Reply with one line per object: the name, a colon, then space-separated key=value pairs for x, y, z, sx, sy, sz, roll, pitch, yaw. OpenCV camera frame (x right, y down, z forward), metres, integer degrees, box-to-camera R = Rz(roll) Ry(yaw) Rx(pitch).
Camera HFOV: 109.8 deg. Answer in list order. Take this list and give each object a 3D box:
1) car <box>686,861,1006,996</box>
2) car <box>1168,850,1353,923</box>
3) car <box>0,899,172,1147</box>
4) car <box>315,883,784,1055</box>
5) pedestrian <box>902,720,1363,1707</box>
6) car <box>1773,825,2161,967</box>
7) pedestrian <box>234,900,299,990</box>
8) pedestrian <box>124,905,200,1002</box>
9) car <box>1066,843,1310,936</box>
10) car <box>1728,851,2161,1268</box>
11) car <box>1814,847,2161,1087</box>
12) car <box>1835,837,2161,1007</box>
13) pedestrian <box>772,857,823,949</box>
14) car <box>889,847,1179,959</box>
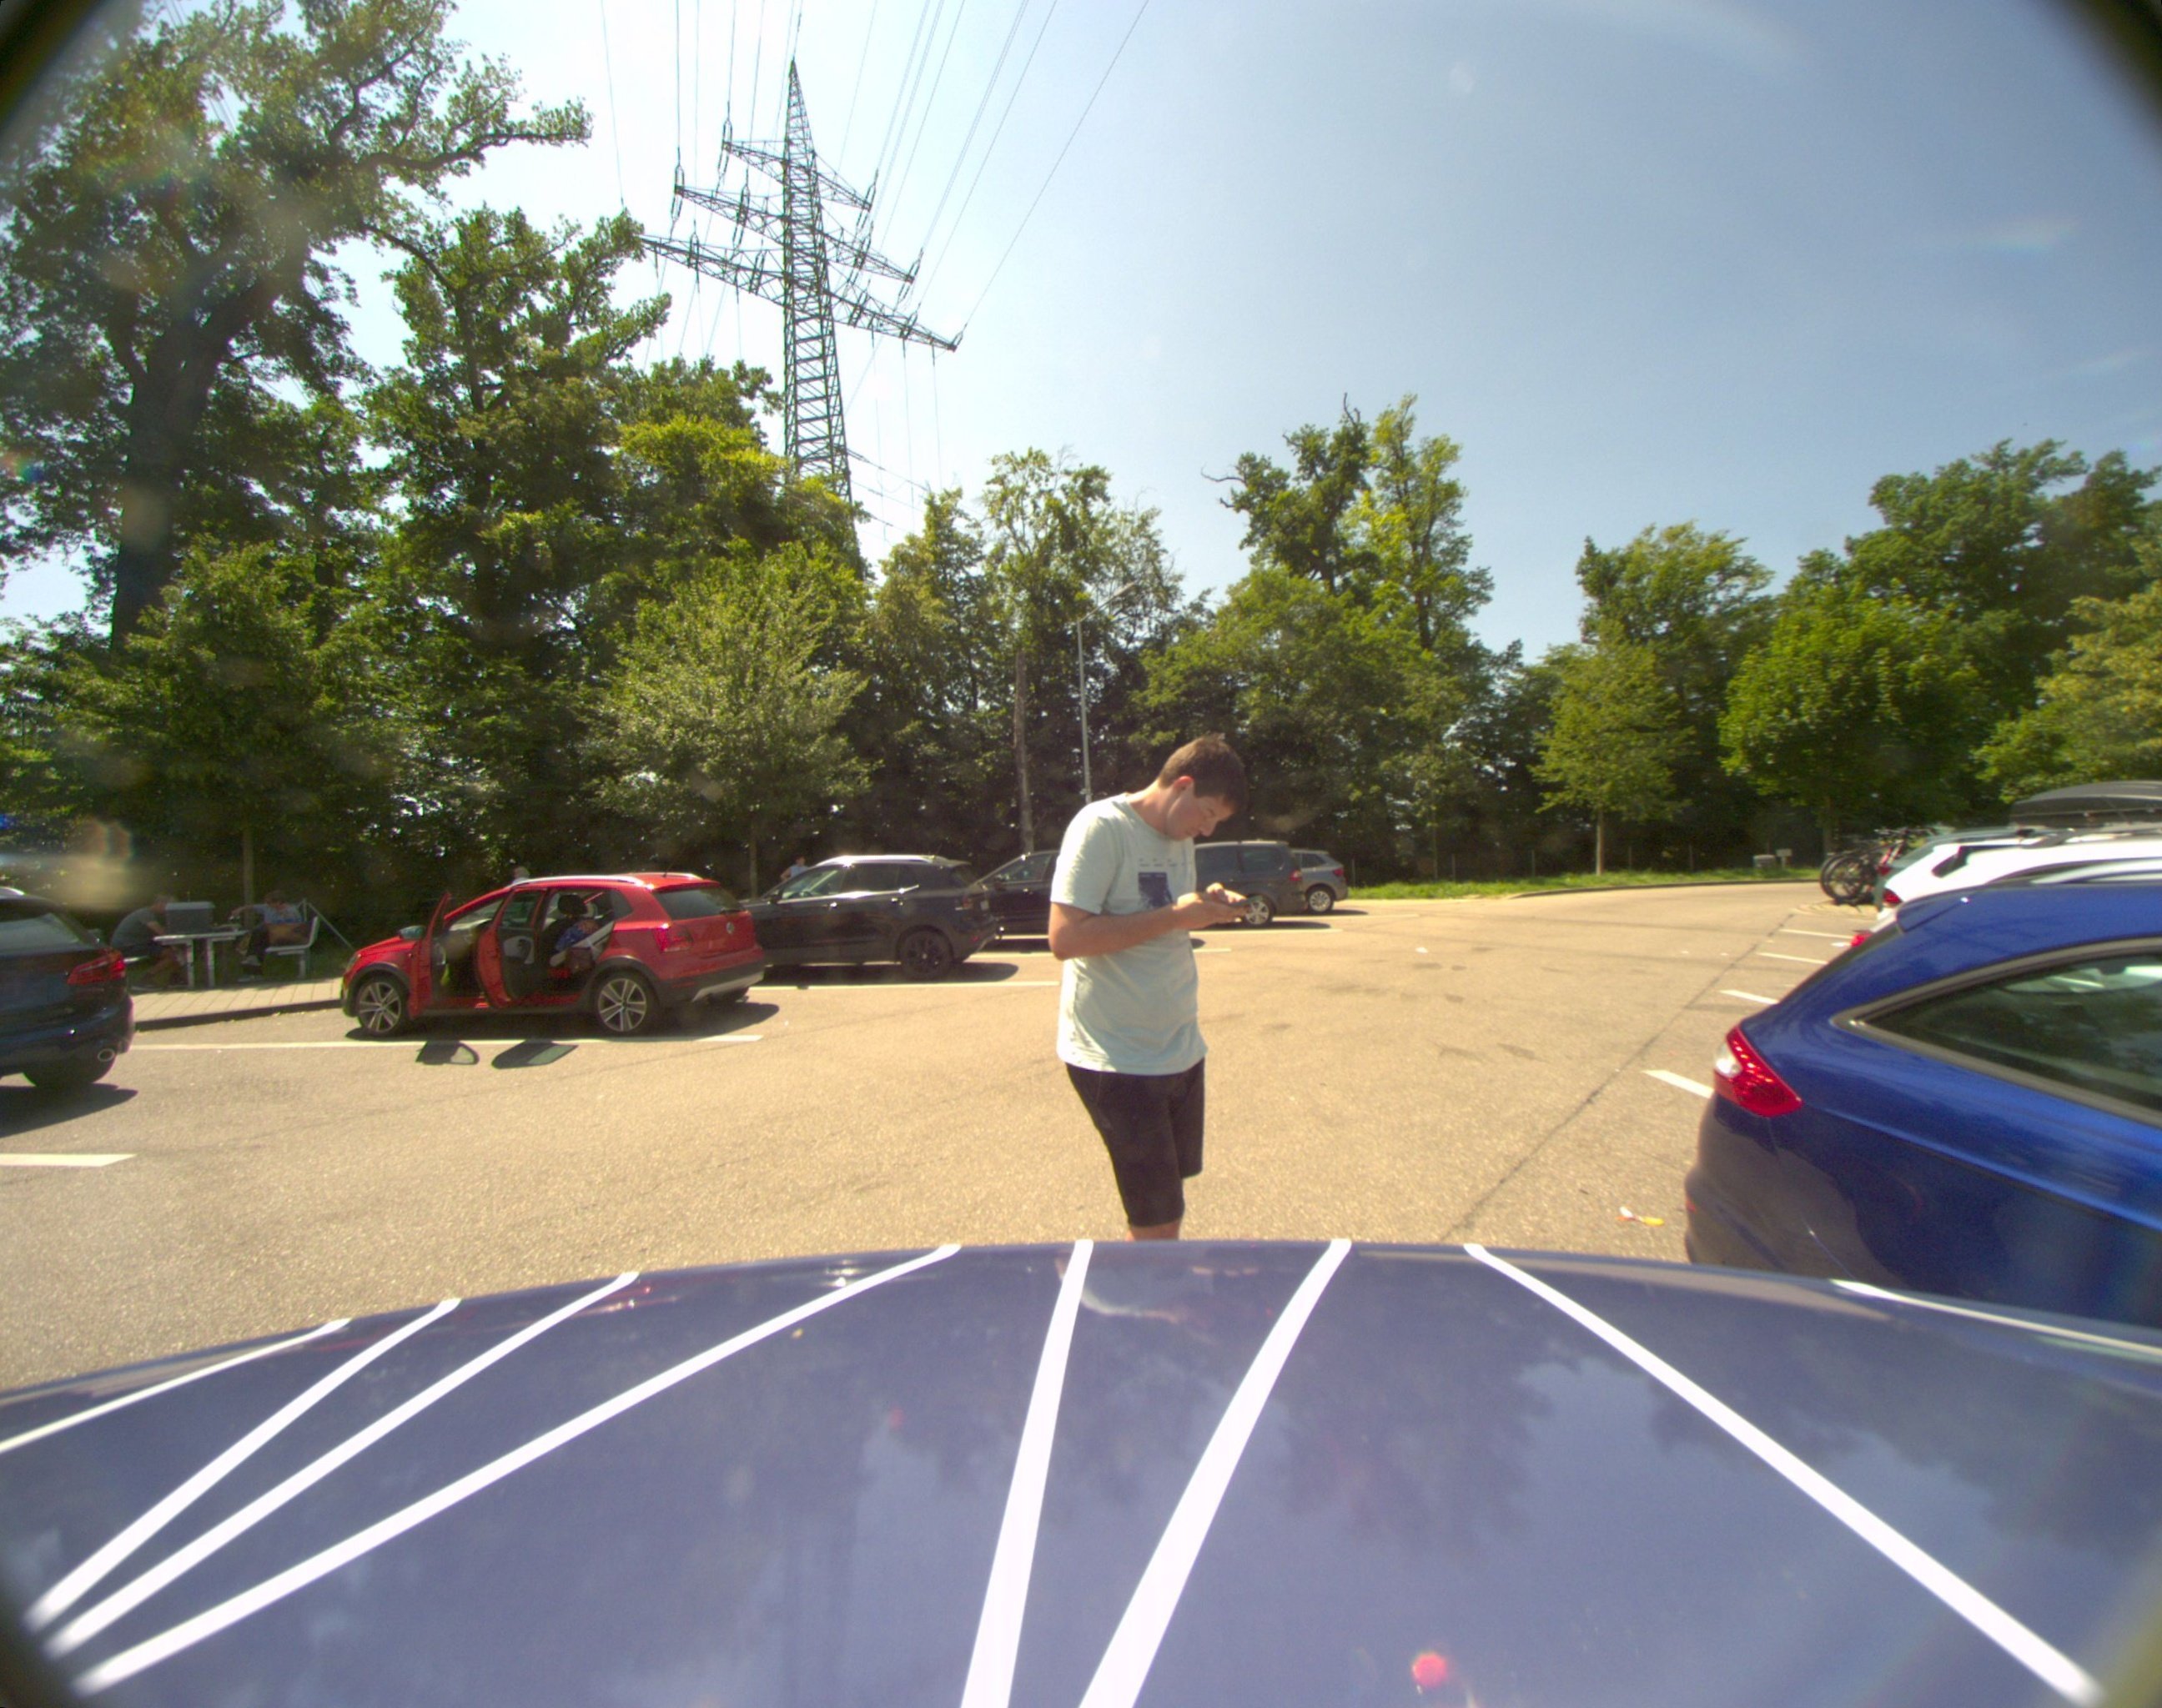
car: x=-3.028 y=0.947 z=10.333 sx=3.732 sy=1.578 sz=1.739 roll=-2 pitch=0 yaw=2
car: x=4.149 y=0.738 z=18.028 sx=3.996 sy=1.495 sz=1.687 roll=-2 pitch=1 yaw=3
car: x=-8.880 y=1.162 z=5.012 sx=3.934 sy=1.534 sz=1.812 roll=-2 pitch=0 yaw=7
car: x=-5.185 y=1.090 z=7.656 sx=3.730 sy=1.440 sz=1.591 roll=-2 pitch=0 yaw=7
pedestrian: x=0.148 y=0.720 z=1.921 sx=0.863 sy=1.940 sz=0.686 roll=-3 pitch=2 yaw=-42
car: x=12.545 y=0.473 z=10.387 sx=1.777 sy=1.541 sz=4.493 roll=-3 pitch=-1 yaw=-5
pedestrian: x=-11.946 y=1.306 z=11.147 sx=0.695 sy=1.228 sz=0.588 roll=-3 pitch=0 yaw=43
pedestrian: x=-12.627 y=1.339 z=10.459 sx=0.695 sy=1.228 sz=0.588 roll=-3 pitch=0 yaw=43
car: x=2.145 y=0.708 z=15.490 sx=4.619 sy=1.701 sz=1.740 roll=-2 pitch=0 yaw=9
car: x=4.877 y=0.739 z=2.372 sx=1.776 sy=1.491 sz=4.495 roll=-3 pitch=-1 yaw=-1
car: x=7.480 y=0.671 z=4.530 sx=1.776 sy=1.418 sz=4.495 roll=-3 pitch=-1 yaw=-1
car: x=10.113 y=0.567 z=6.917 sx=1.777 sy=1.418 sz=4.493 roll=-3 pitch=-1 yaw=-5
pedestrian: x=-5.850 y=0.990 z=15.697 sx=0.519 sy=1.821 sz=0.767 roll=-1 pitch=2 yaw=43
car: x=-0.687 y=0.801 z=13.126 sx=4.610 sy=1.703 sz=2.001 roll=-2 pitch=1 yaw=9
